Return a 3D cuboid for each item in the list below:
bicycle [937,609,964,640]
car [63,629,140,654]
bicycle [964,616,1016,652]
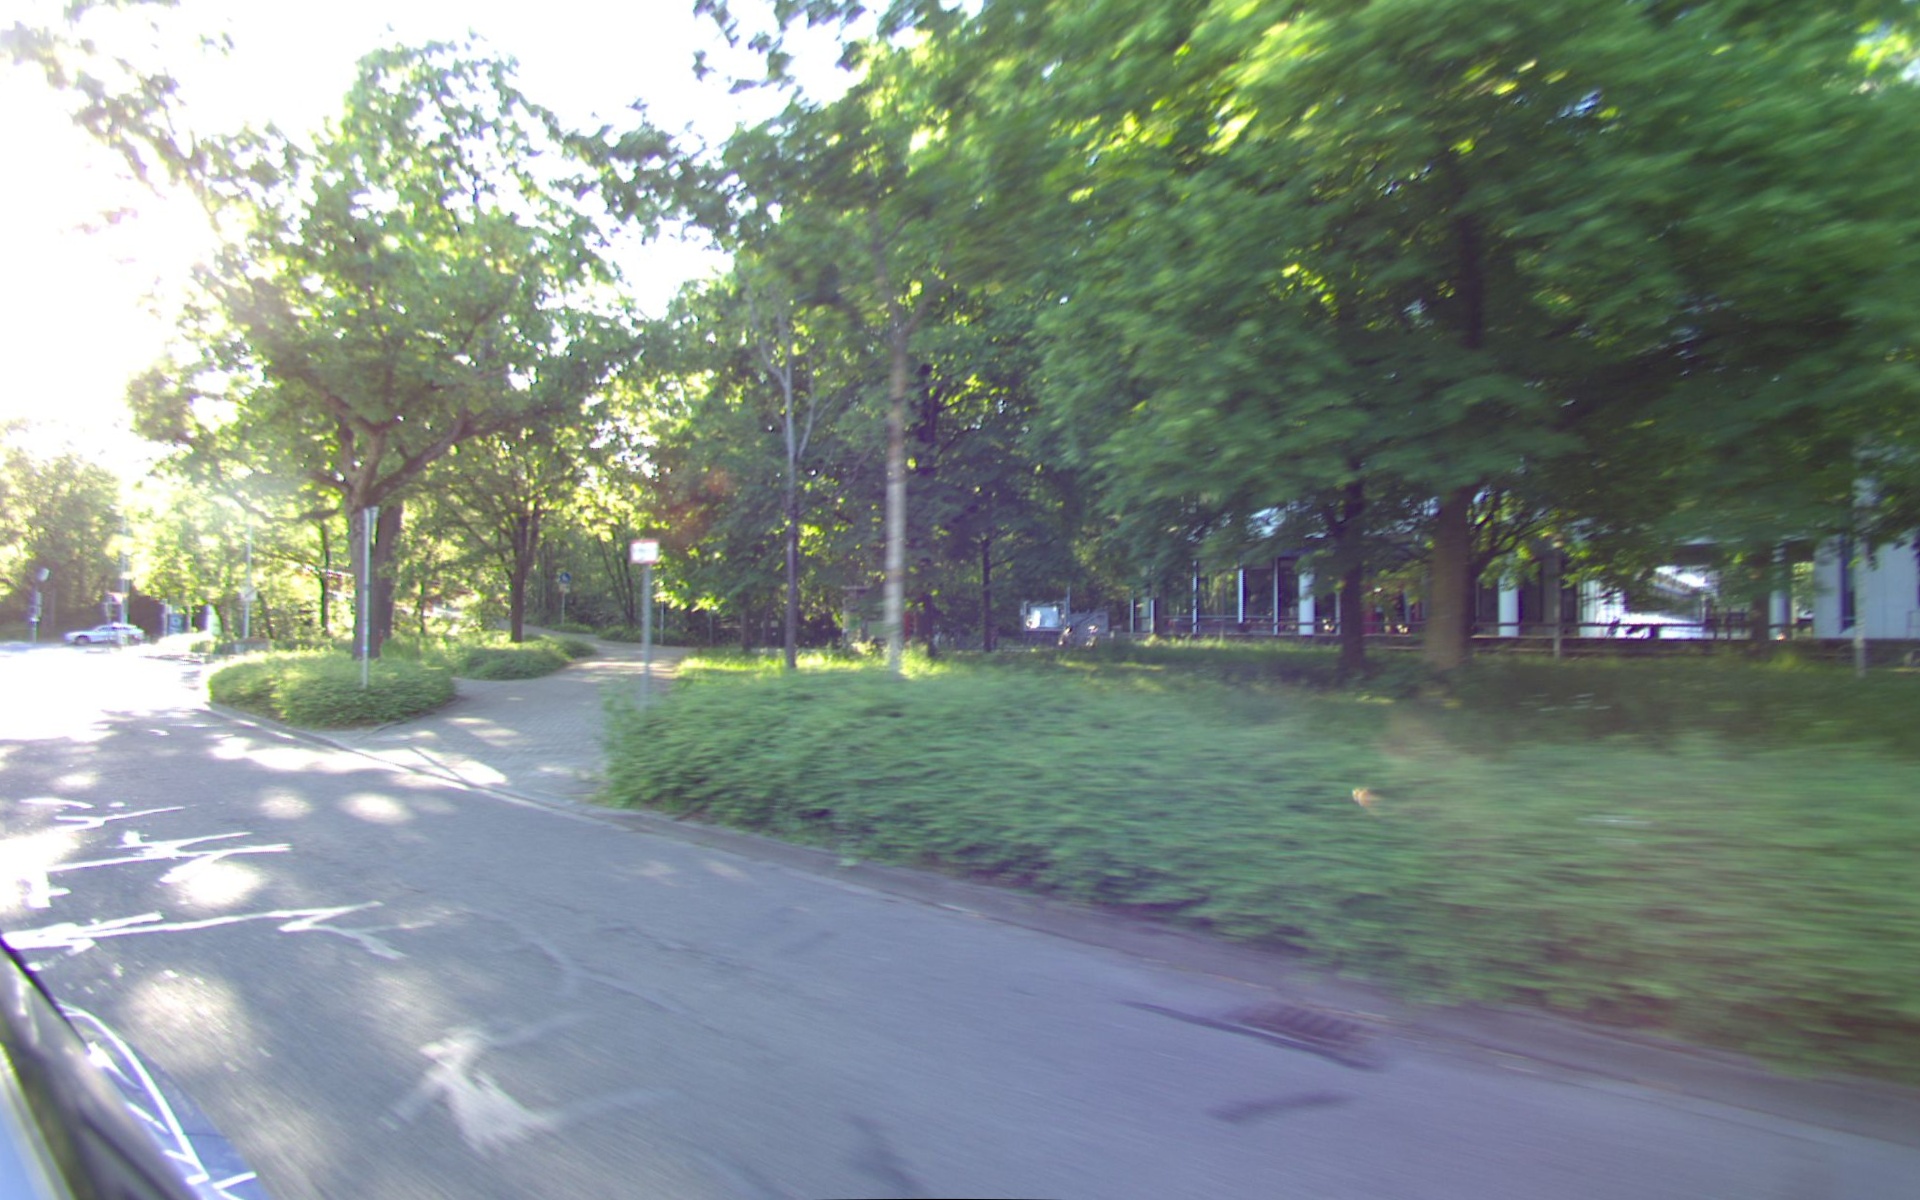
[{"bbox_3d":[-0.362,0.919,37.534,0.528,1.079,2.434,-3,-1,-10],"label":"bicycle"},{"bbox_3d":[-65.176,3.125,76.865,1.571,1.774,4.310,-2,-1,40],"label":"car"},{"bbox_3d":[1.079,1.248,37.498,0.528,1.079,2.643,-4,5,-32],"label":"bicycle"}]
